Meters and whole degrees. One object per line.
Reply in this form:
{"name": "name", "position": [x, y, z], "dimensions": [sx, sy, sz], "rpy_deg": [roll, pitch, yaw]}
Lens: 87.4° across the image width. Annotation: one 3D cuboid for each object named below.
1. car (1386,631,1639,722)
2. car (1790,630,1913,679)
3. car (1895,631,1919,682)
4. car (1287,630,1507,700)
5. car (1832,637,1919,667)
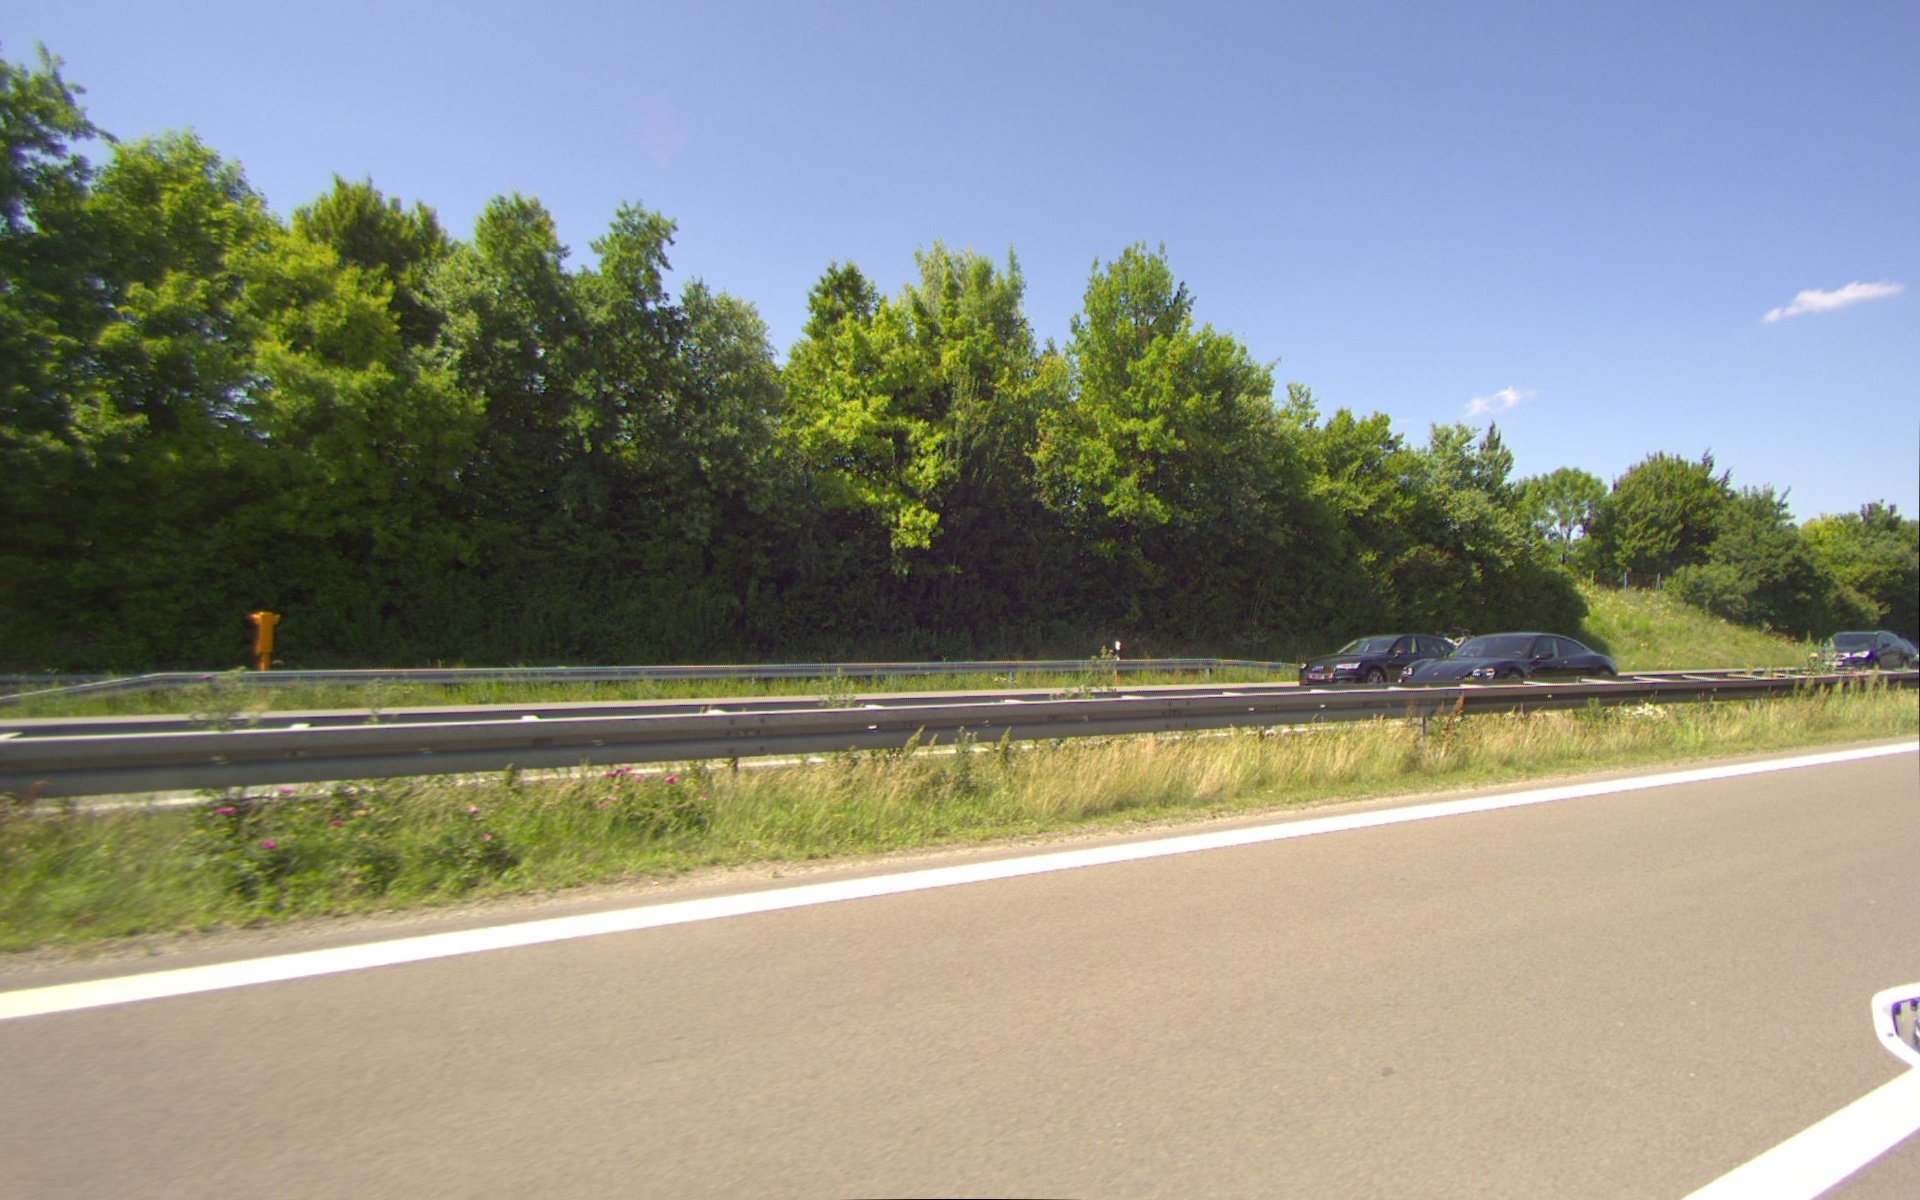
{"name": "car", "position": [10.340, 1.343, 18.721], "dimensions": [4.774, 1.494, 1.984], "rpy_deg": [1, -2, -30]}
{"name": "car", "position": [32.029, 1.926, 36.064], "dimensions": [4.521, 1.651, 1.984], "rpy_deg": [1, -2, -30]}
{"name": "car", "position": [30.623, 1.710, 30.558], "dimensions": [4.292, 1.502, 1.946], "rpy_deg": [1, -2, -29]}
{"name": "car", "position": [10.536, 1.491, 24.093], "dimensions": [5.557, 1.494, 1.984], "rpy_deg": [1, -2, -30]}
{"name": "car", "position": [42.228, 2.384, 46.189], "dimensions": [5.003, 1.314, 1.739], "rpy_deg": [1, -2, -30]}
